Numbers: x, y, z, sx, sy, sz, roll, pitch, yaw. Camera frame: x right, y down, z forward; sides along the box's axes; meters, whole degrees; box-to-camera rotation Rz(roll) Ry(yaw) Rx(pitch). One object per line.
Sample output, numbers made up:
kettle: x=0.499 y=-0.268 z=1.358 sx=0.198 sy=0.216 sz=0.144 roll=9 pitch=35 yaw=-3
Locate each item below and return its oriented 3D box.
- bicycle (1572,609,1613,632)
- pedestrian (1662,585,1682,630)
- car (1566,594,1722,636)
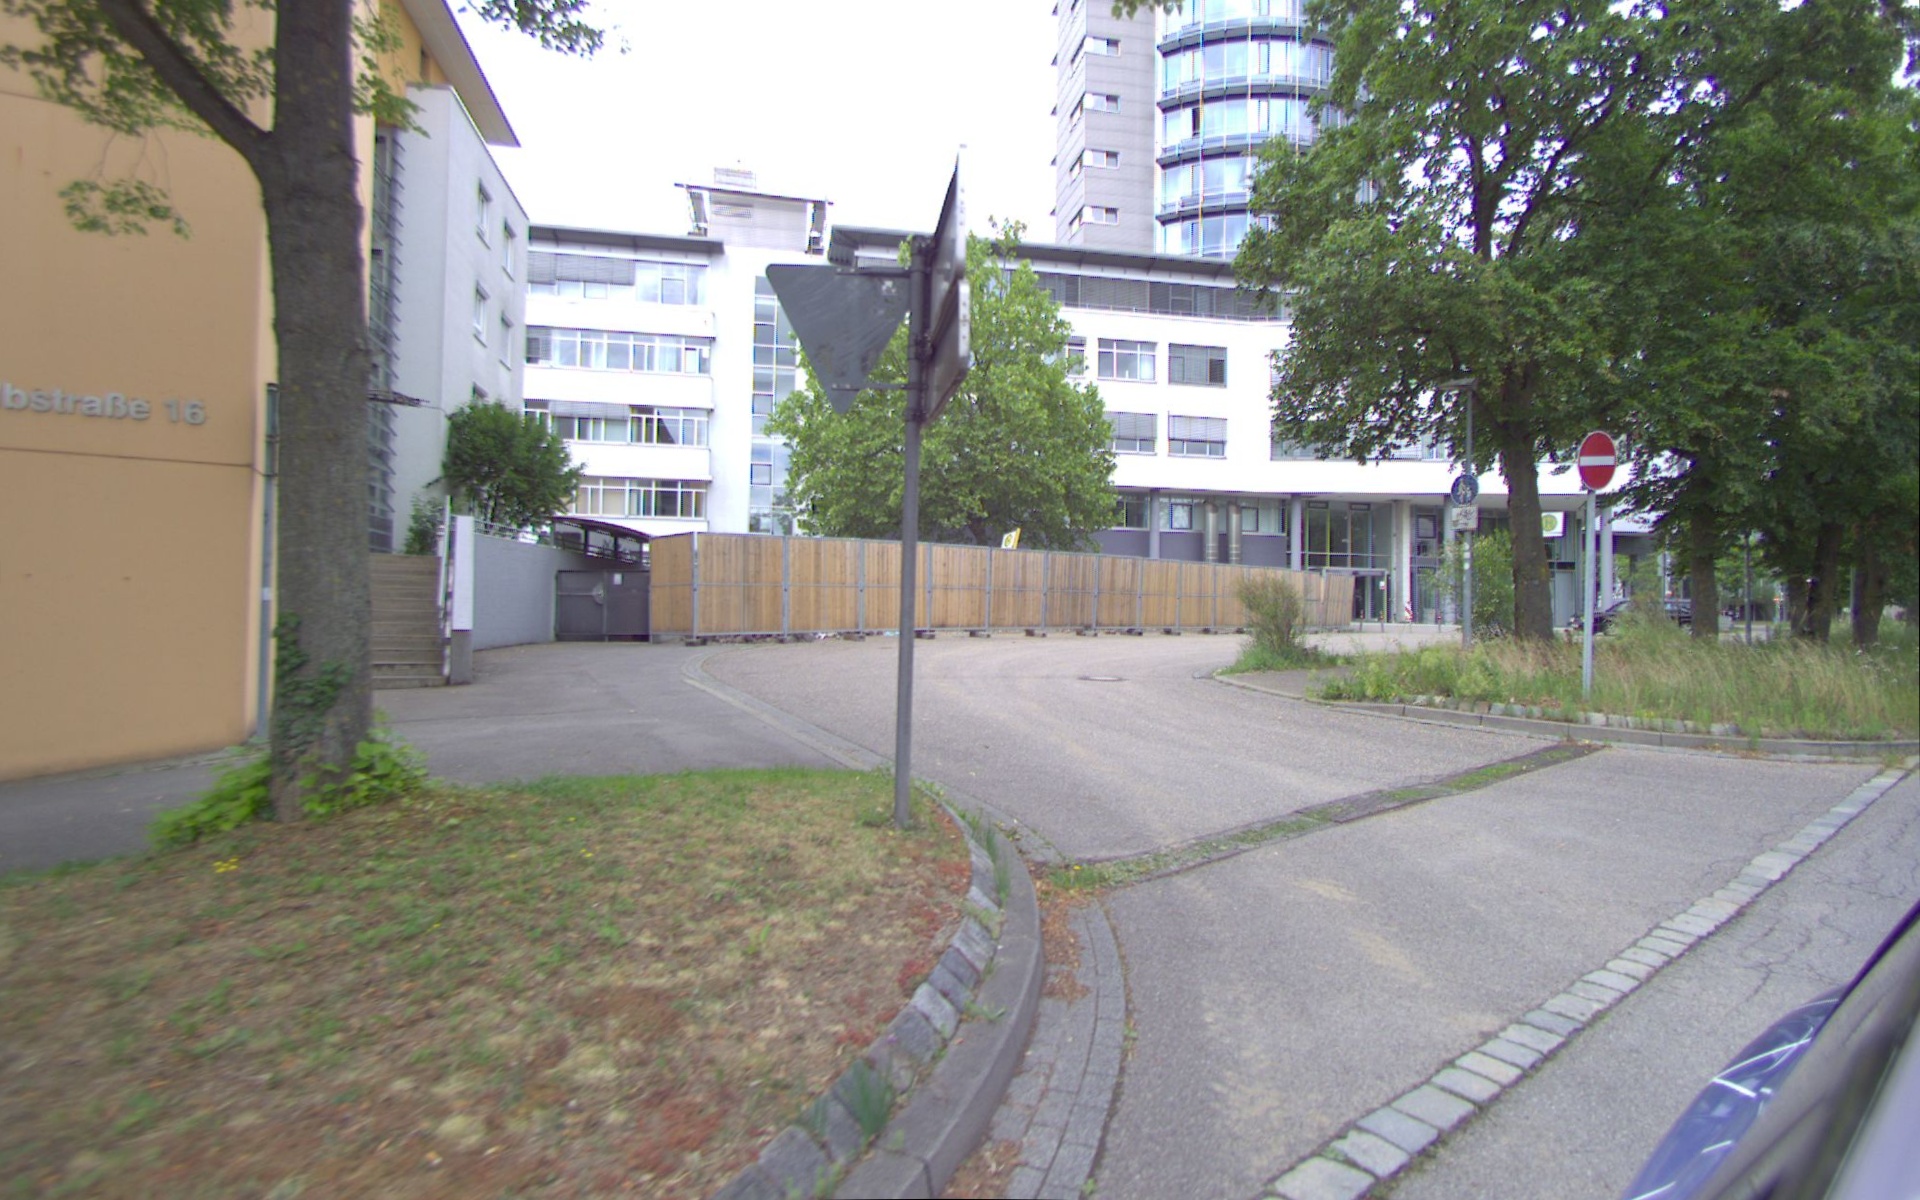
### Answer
bicycle: x=32.191 y=1.065 z=51.546 sx=1.727 sy=1.162 sz=0.485 roll=-2 pitch=-2 yaw=35
pedestrian: x=28.592 y=0.315 z=40.651 sx=0.469 sy=1.777 sz=0.580 roll=3 pitch=-2 yaw=20
car: x=26.704 y=0.563 z=39.644 sx=4.660 sy=1.536 sz=1.868 roll=1 pitch=0 yaw=6
